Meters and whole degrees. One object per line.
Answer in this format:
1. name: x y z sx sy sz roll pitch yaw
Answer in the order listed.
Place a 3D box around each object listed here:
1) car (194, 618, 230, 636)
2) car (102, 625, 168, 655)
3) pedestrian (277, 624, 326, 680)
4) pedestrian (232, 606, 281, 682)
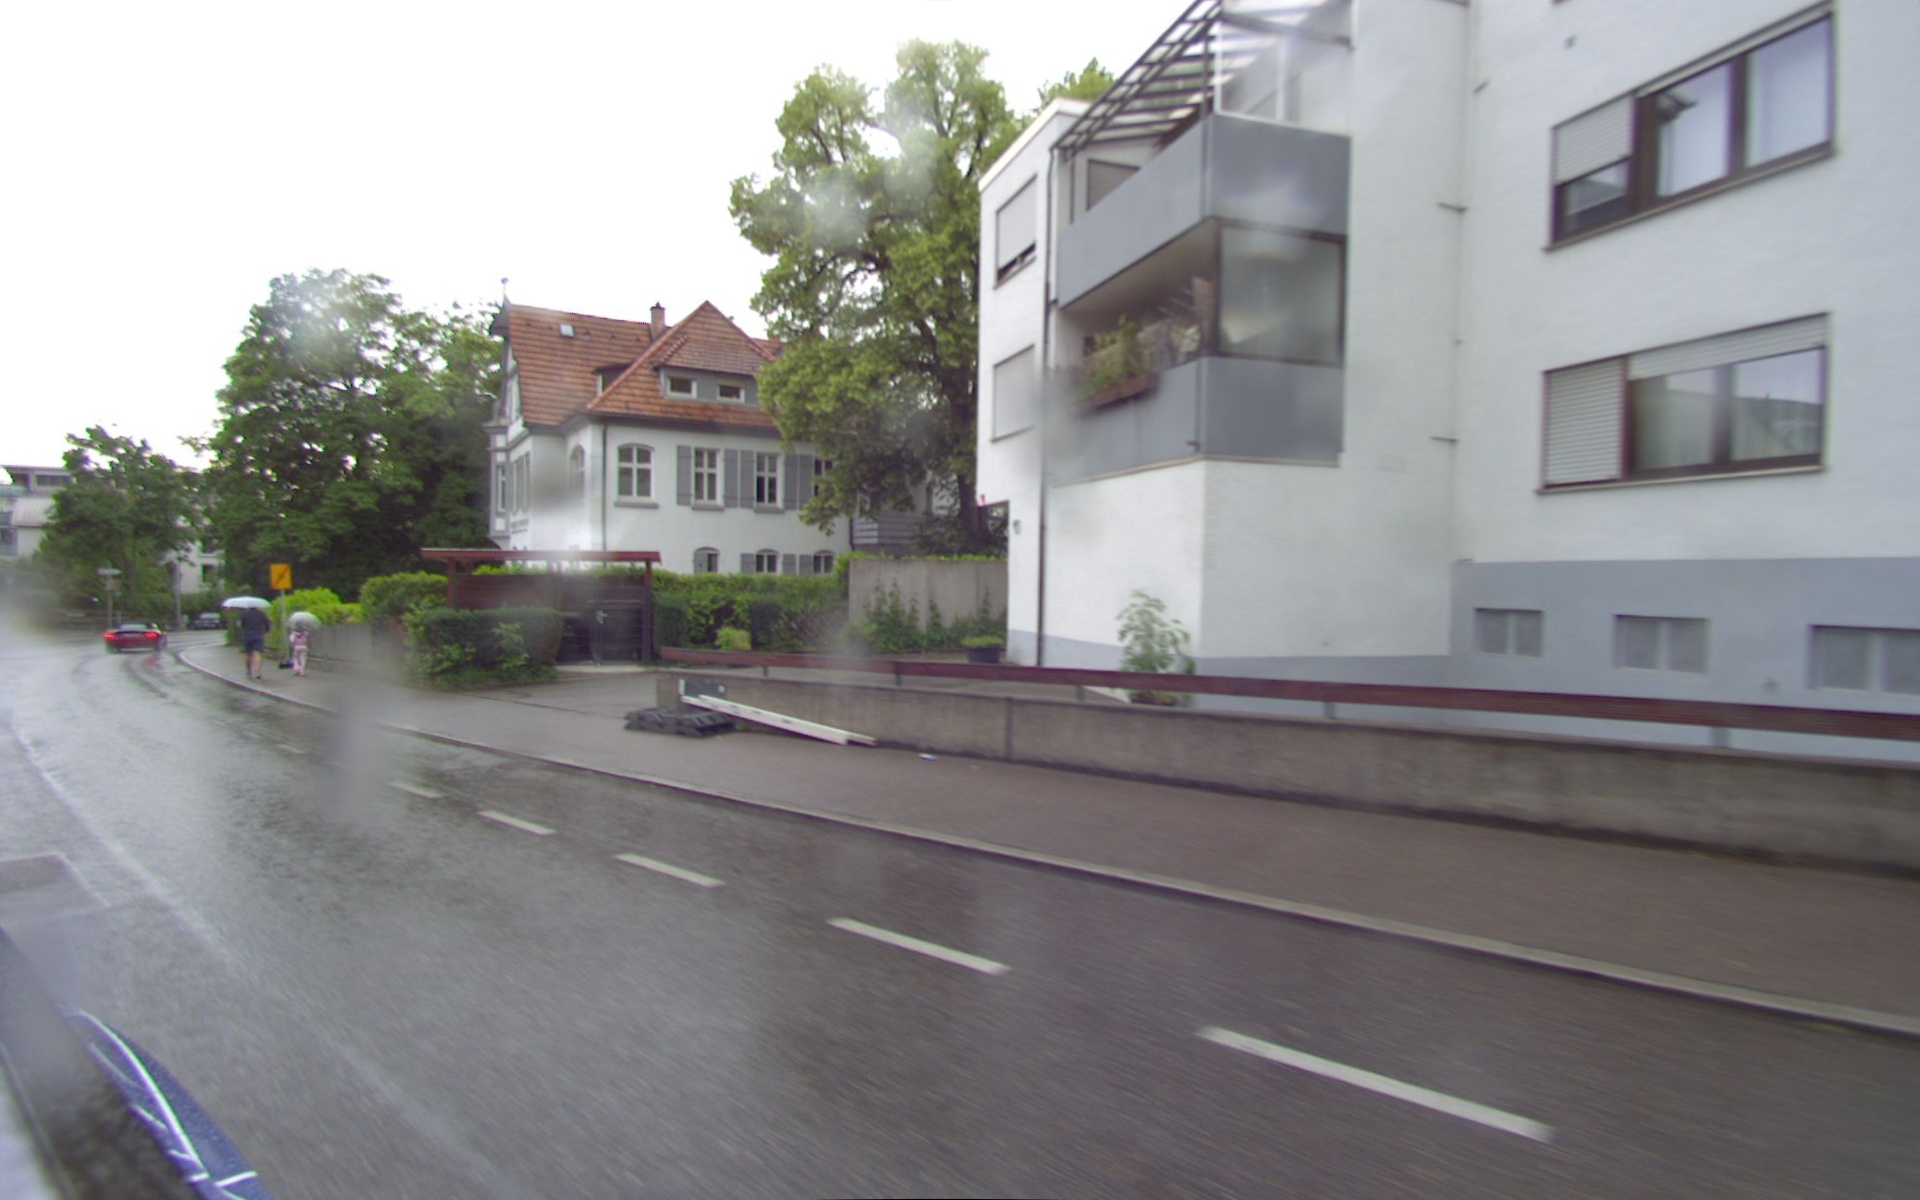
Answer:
1. car: -67.453 2.426 91.277 1.755 1.582 4.743 -2 0 -26
2. car: -33.534 1.597 41.224 1.656 1.155 4.011 0 -1 -33
3. pedestrian: -14.853 1.156 22.819 0.747 1.189 1.041 -1 0 -42
4. pedestrian: -15.924 0.978 22.909 0.747 1.656 1.041 -1 0 -42
